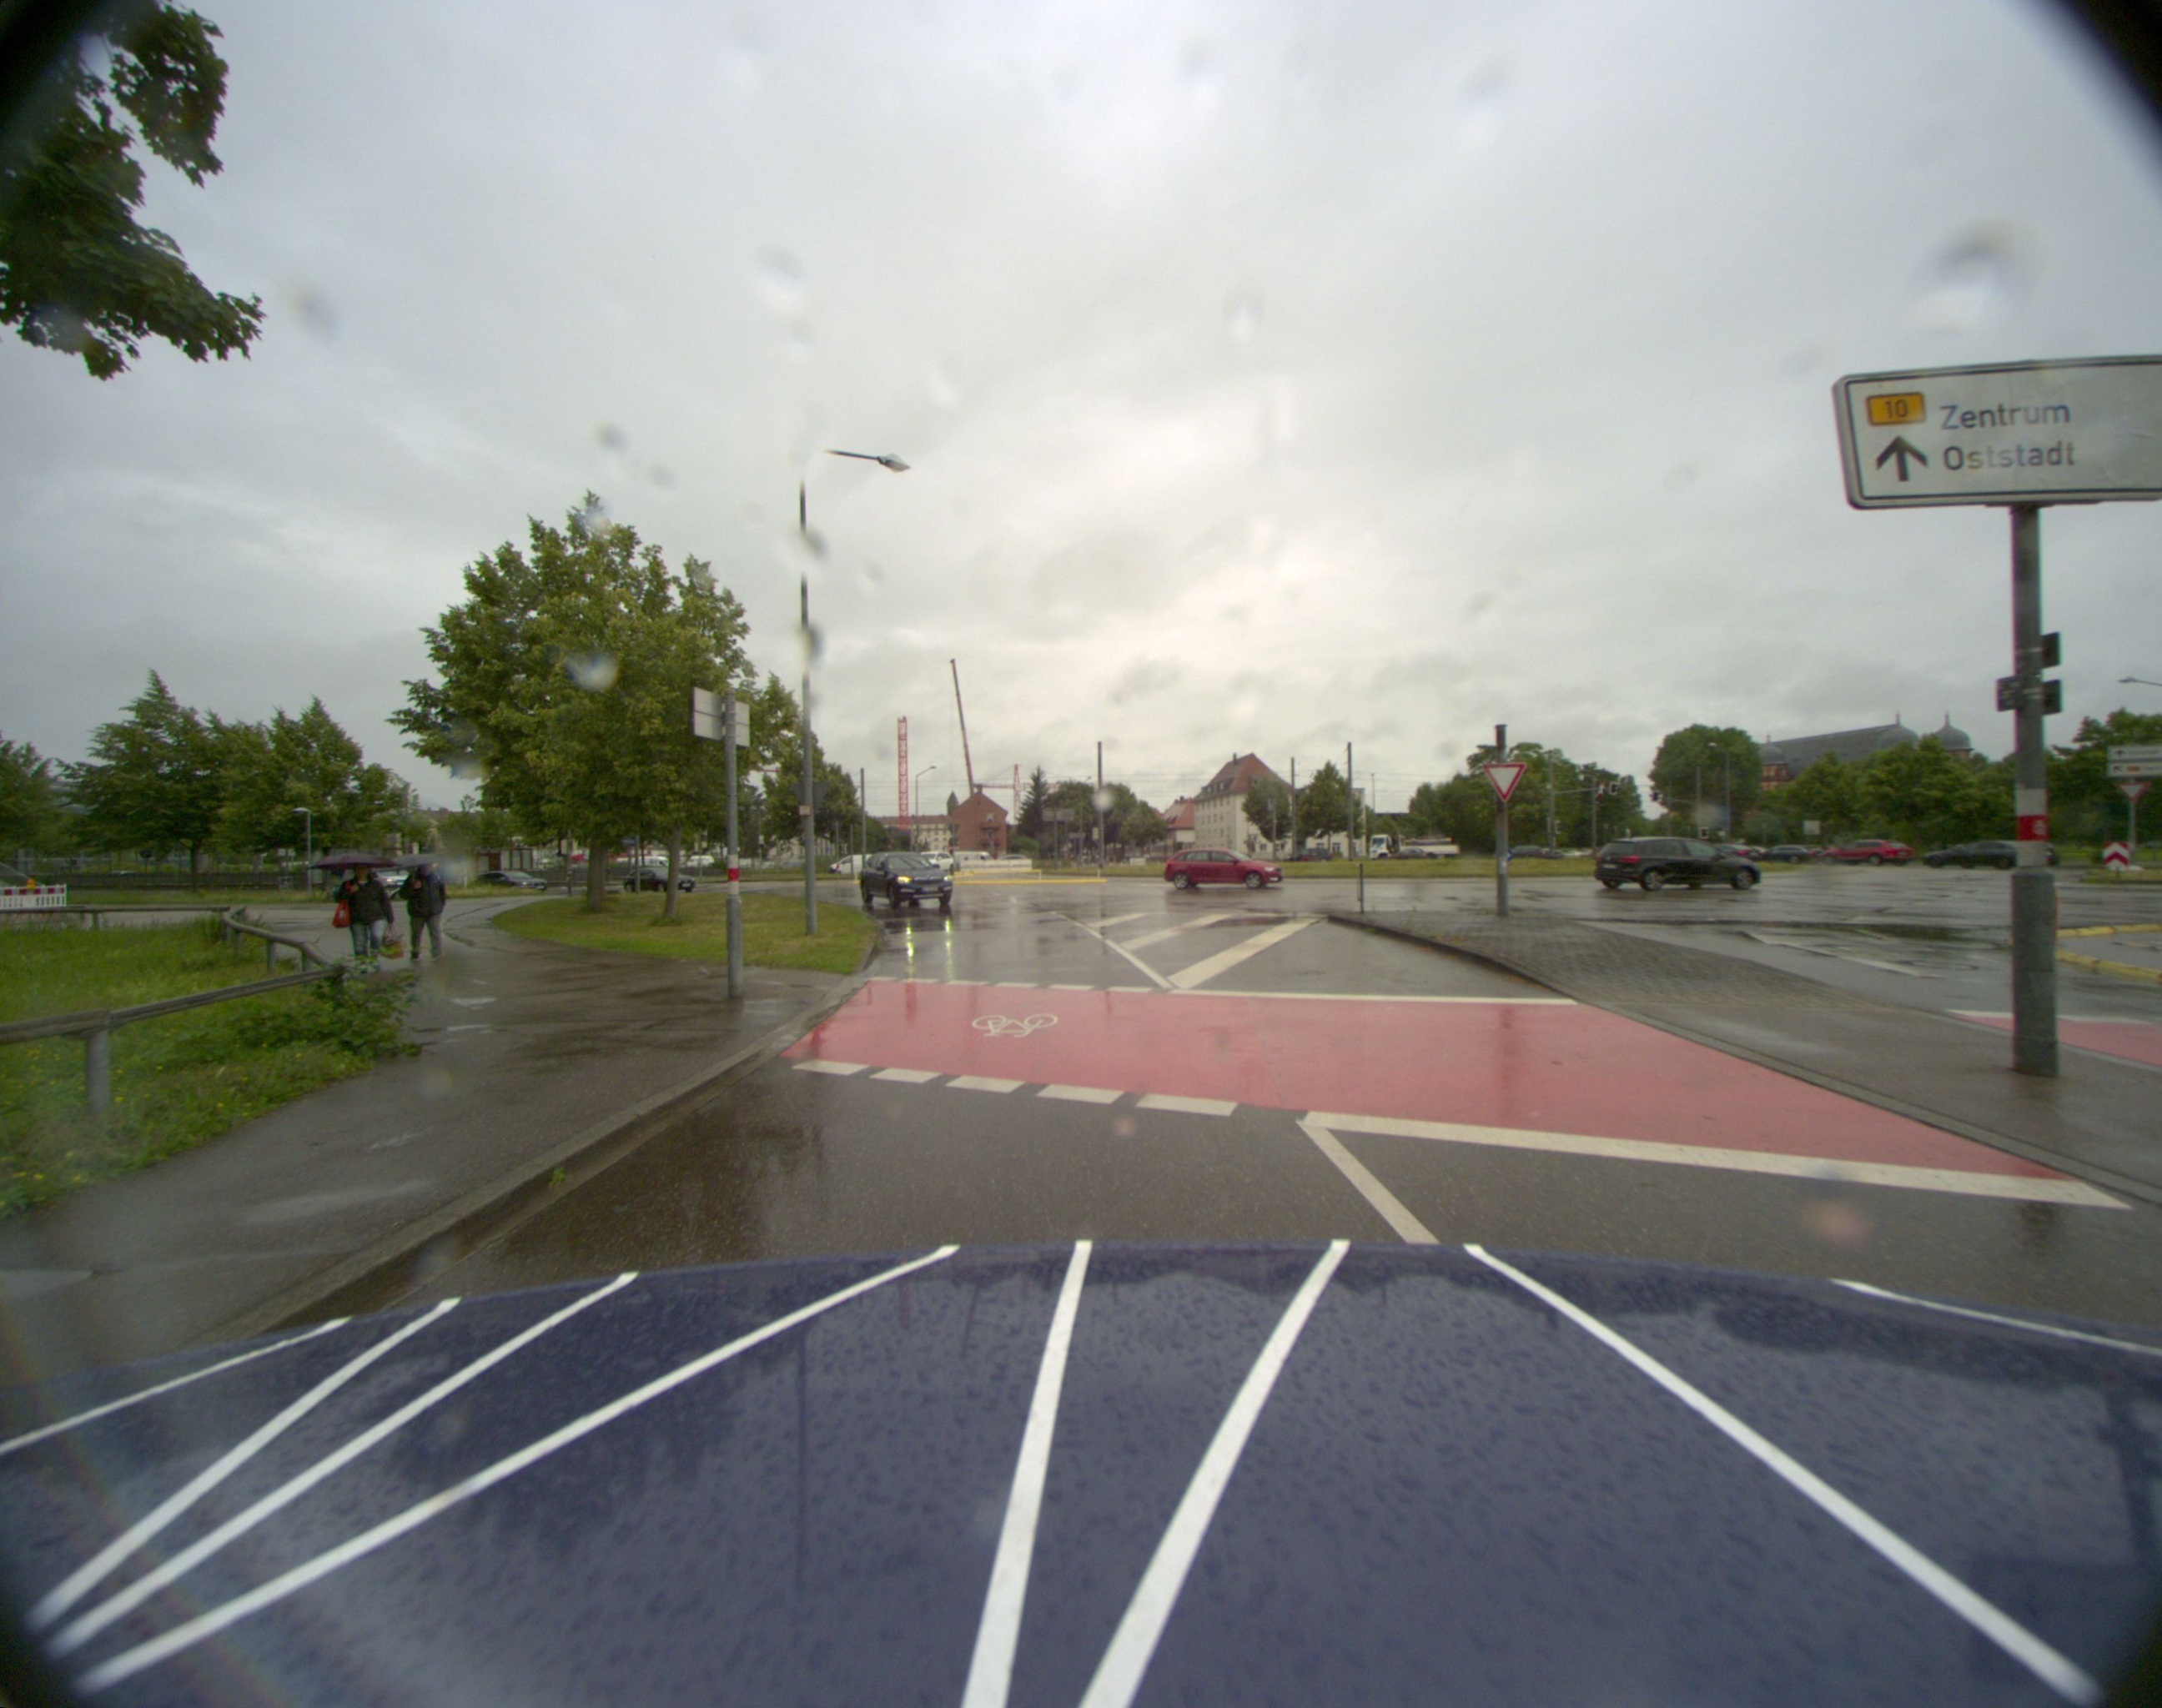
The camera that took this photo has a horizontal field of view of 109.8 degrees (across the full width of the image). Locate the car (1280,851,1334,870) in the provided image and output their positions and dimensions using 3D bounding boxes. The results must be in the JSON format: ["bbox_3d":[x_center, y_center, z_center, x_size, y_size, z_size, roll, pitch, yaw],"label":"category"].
[{"bbox_3d":[21.787,0.620,73.455,4.857,1.734,1.779,-1,3,13],"label":"car"}]

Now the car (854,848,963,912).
[{"bbox_3d":[-5.674,0.732,24.596,1.921,1.737,4.370,-3,3,-35],"label":"car"}]

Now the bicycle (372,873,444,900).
[{"bbox_3d":[-32.850,1.551,37.143,2.529,1.182,0.552,-2,1,-35],"label":"bicycle"}]

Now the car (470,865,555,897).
[{"bbox_3d":[-34.331,1.606,45.926,4.373,1.737,1.920,0,3,20],"label":"car"}]

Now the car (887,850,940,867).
[{"bbox_3d":[-21.419,0.598,97.199,6.412,2.003,2.360,0,3,24],"label":"car"}]

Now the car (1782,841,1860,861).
[{"bbox_3d":[54.560,-0.215,56.081,1.851,1.441,3.989,-1,1,-42],"label":"car"}]

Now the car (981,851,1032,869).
[{"bbox_3d":[-7.043,0.537,71.922,4.552,1.484,1.608,-2,3,-19],"label":"car"}]

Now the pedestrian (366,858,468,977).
[{"bbox_3d":[-10.576,0.977,12.144,0.925,1.774,0.806,-2,3,-22],"label":"pedestrian"}]

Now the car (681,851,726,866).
[{"bbox_3d":[-65.406,0.740,131.704,6.826,2.463,2.502,-1,3,9],"label":"car"}]

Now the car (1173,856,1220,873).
[{"bbox_3d":[11.894,1.095,78.238,4.550,1.484,1.609,-2,3,-10],"label":"car"}]

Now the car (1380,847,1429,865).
[{"bbox_3d":[30.567,0.178,71.832,3.988,1.639,1.792,0,3,32],"label":"car"}]

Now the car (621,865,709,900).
[{"bbox_3d":[-22.939,1.525,41.905,4.372,1.737,1.920,0,3,23],"label":"car"}]

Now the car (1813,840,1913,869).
[{"bbox_3d":[50.996,-0.020,49.686,1.788,1.639,4.389,-2,3,-5],"label":"car"}]

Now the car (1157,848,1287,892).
[{"bbox_3d":[5.146,0.580,27.694,4.304,1.451,1.792,-2,1,25],"label":"car"}]

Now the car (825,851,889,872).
[{"bbox_3d":[-19.872,0.654,67.467,5.021,1.634,1.830,-1,3,2],"label":"car"}]

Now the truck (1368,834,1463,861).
[{"bbox_3d":[34.285,-0.662,78.137,8.773,2.696,2.003,0,3,29],"label":"truck"}]

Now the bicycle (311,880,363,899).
[{"bbox_3d":[-35.724,1.691,36.504,2.160,0.842,0.637,-1,1,10],"label":"bicycle"}]

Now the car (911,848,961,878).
[{"bbox_3d":[-9.841,0.556,51.925,1.775,1.734,4.867,-1,3,9],"label":"car"}]

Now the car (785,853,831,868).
[{"bbox_3d":[-46.308,1.089,129.075,6.831,2.462,2.356,-1,1,-1],"label":"car"}]

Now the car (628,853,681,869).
[{"bbox_3d":[-70.613,1.106,125.827,7.627,2.463,2.357,-1,3,9],"label":"car"}]

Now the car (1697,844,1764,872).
[{"bbox_3d":[43.534,0.239,51.041,1.785,1.639,4.397,0,3,17],"label":"car"}]

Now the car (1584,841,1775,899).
[{"bbox_3d":[17.770,0.446,22.701,4.329,1.509,1.788,-2,1,-1],"label":"car"}]

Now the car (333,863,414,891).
[{"bbox_3d":[-45.105,1.466,48.476,3.993,1.639,1.790,-1,3,13],"label":"car"}]

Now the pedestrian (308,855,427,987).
[{"bbox_3d":[-10.282,0.928,10.997,0.925,1.774,0.806,-2,3,-22],"label":"pedestrian"}]

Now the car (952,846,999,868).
[{"bbox_3d":[-15.230,0.430,109.555,6.412,2.923,2.360,0,3,24],"label":"car"}]

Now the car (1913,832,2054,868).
[{"bbox_3d":[45.827,-0.267,38.745,1.788,1.639,4.390,-1,3,-4],"label":"car"}]
